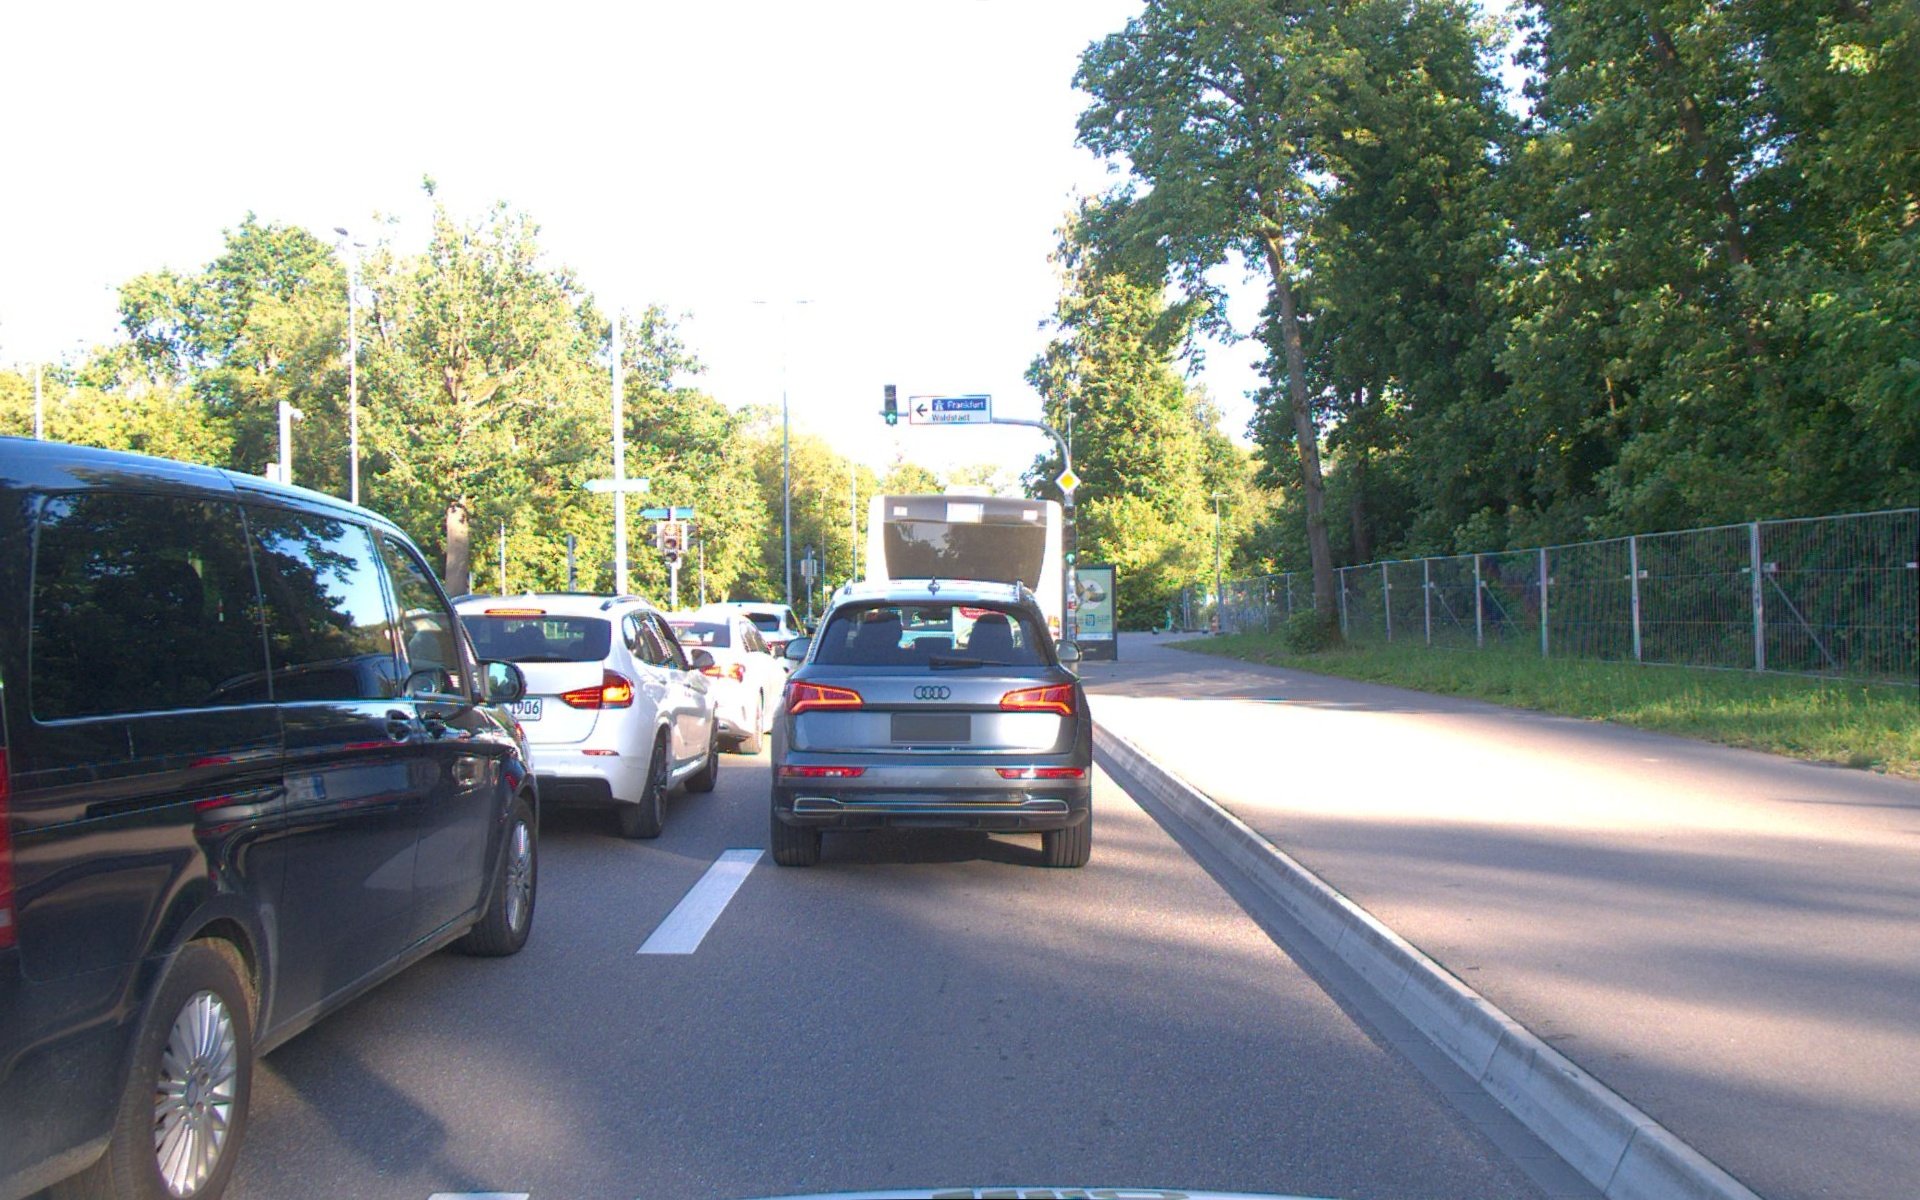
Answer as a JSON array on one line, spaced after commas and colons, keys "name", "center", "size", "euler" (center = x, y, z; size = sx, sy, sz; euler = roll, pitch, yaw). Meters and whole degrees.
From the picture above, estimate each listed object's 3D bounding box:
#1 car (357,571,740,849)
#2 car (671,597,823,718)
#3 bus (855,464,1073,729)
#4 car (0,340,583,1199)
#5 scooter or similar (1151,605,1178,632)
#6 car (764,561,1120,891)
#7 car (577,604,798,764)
[{"name": "car", "center": [-2.710, 0.691, 11.943], "size": [1.683, 1.608, 4.432], "euler": [1, -1, -1]}, {"name": "car", "center": [-3.062, 0.776, 24.509], "size": [1.771, 1.599, 3.999], "euler": [1, 0, -1]}, {"name": "bus", "center": [0.075, -0.061, 23.267], "size": [2.624, 3.197, 5.882], "euler": [1, 0, 0]}, {"name": "car", "center": [-2.674, 0.449, 5.252], "size": [1.868, 1.888, 4.872], "euler": [1, 0, -1]}, {"name": "scooter or similar", "center": [9.247, 0.828, 74.802], "size": [1.158, 1.195, 0.659], "euler": [1, 0, 10]}, {"name": "car", "center": [-0.121, 0.648, 10.631], "size": [1.830, 1.693, 3.999], "euler": [1, 0, -1]}, {"name": "car", "center": [-2.831, 0.818, 18.067], "size": [1.749, 1.469, 4.277], "euler": [1, 0, -1]}]
